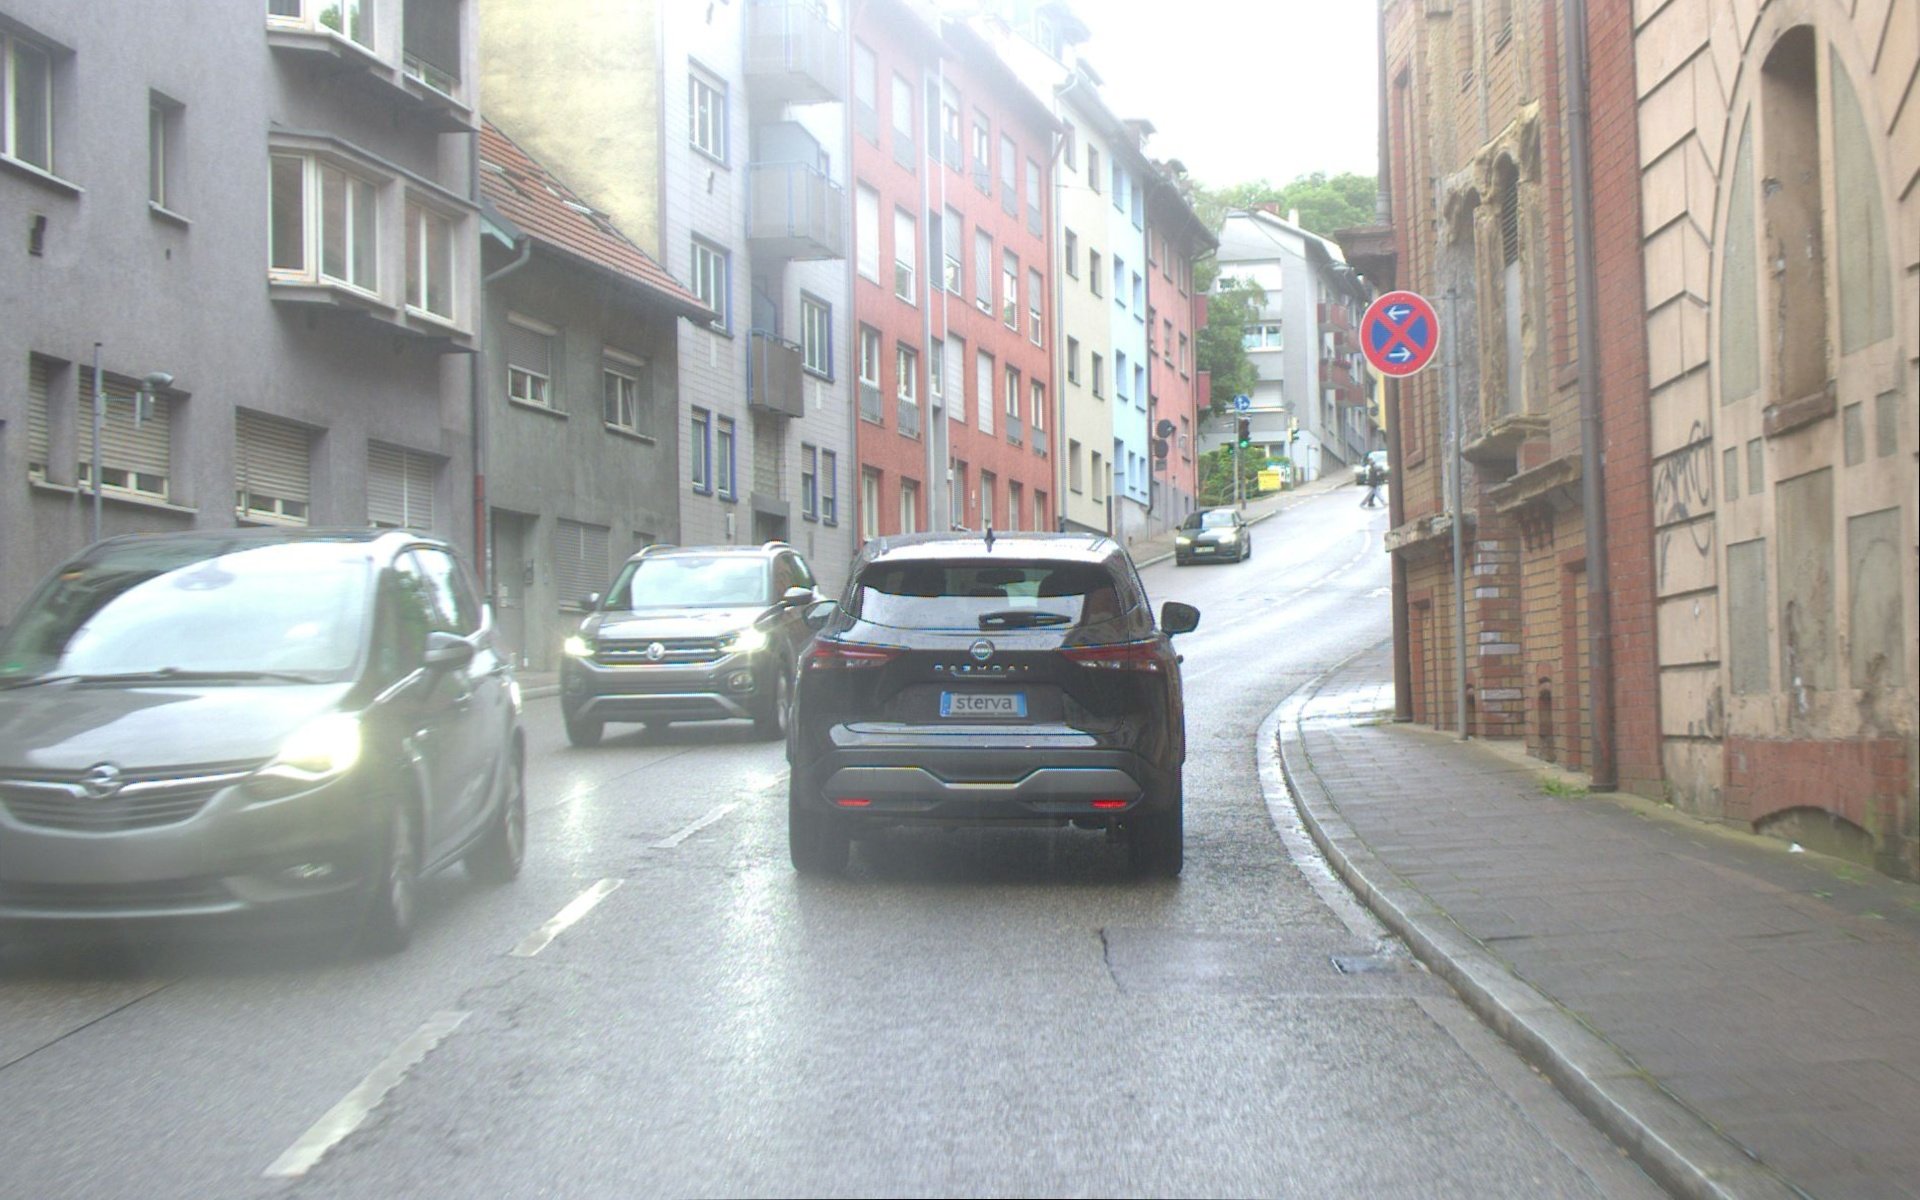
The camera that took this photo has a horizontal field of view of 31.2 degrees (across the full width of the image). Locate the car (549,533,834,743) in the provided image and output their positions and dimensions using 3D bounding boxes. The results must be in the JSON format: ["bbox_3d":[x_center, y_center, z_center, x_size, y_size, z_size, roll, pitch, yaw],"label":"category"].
[{"bbox_3d":[-2.140,0.267,28.394,1.764,1.571,3.764,-2,1,4],"label":"car"}]

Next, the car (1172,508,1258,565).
[{"bbox_3d":[6.776,-1.691,91.017,1.645,1.373,3.849,-2,1,13],"label":"car"}]

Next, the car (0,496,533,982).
[{"bbox_3d":[-2.890,0.469,13.952,1.764,1.652,3.987,-2,1,0],"label":"car"}]

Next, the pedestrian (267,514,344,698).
[{"bbox_3d":[-6.403,0.050,33.645,0.523,1.770,0.622,-2,1,5],"label":"pedestrian"}]

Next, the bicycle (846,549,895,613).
[{"bbox_3d":[-1.671,-0.361,64.295,0.499,1.104,1.799,-1,2,12],"label":"bicycle"}]

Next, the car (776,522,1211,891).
[{"bbox_3d":[0.134,0.439,16.957,1.881,1.588,3.921,-1,1,0],"label":"car"}]

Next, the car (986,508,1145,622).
[{"bbox_3d":[1.605,-0.529,50.915,1.765,1.571,4.035,-2,1,10],"label":"car"}]

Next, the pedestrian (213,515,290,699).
[{"bbox_3d":[-6.945,0.063,33.713,0.523,1.770,0.622,-2,1,5],"label":"pedestrian"}]

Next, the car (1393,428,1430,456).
[{"bbox_3d":[25.813,-9.022,196.396,1.795,1.505,3.999,-1,2,11],"label":"car"}]
